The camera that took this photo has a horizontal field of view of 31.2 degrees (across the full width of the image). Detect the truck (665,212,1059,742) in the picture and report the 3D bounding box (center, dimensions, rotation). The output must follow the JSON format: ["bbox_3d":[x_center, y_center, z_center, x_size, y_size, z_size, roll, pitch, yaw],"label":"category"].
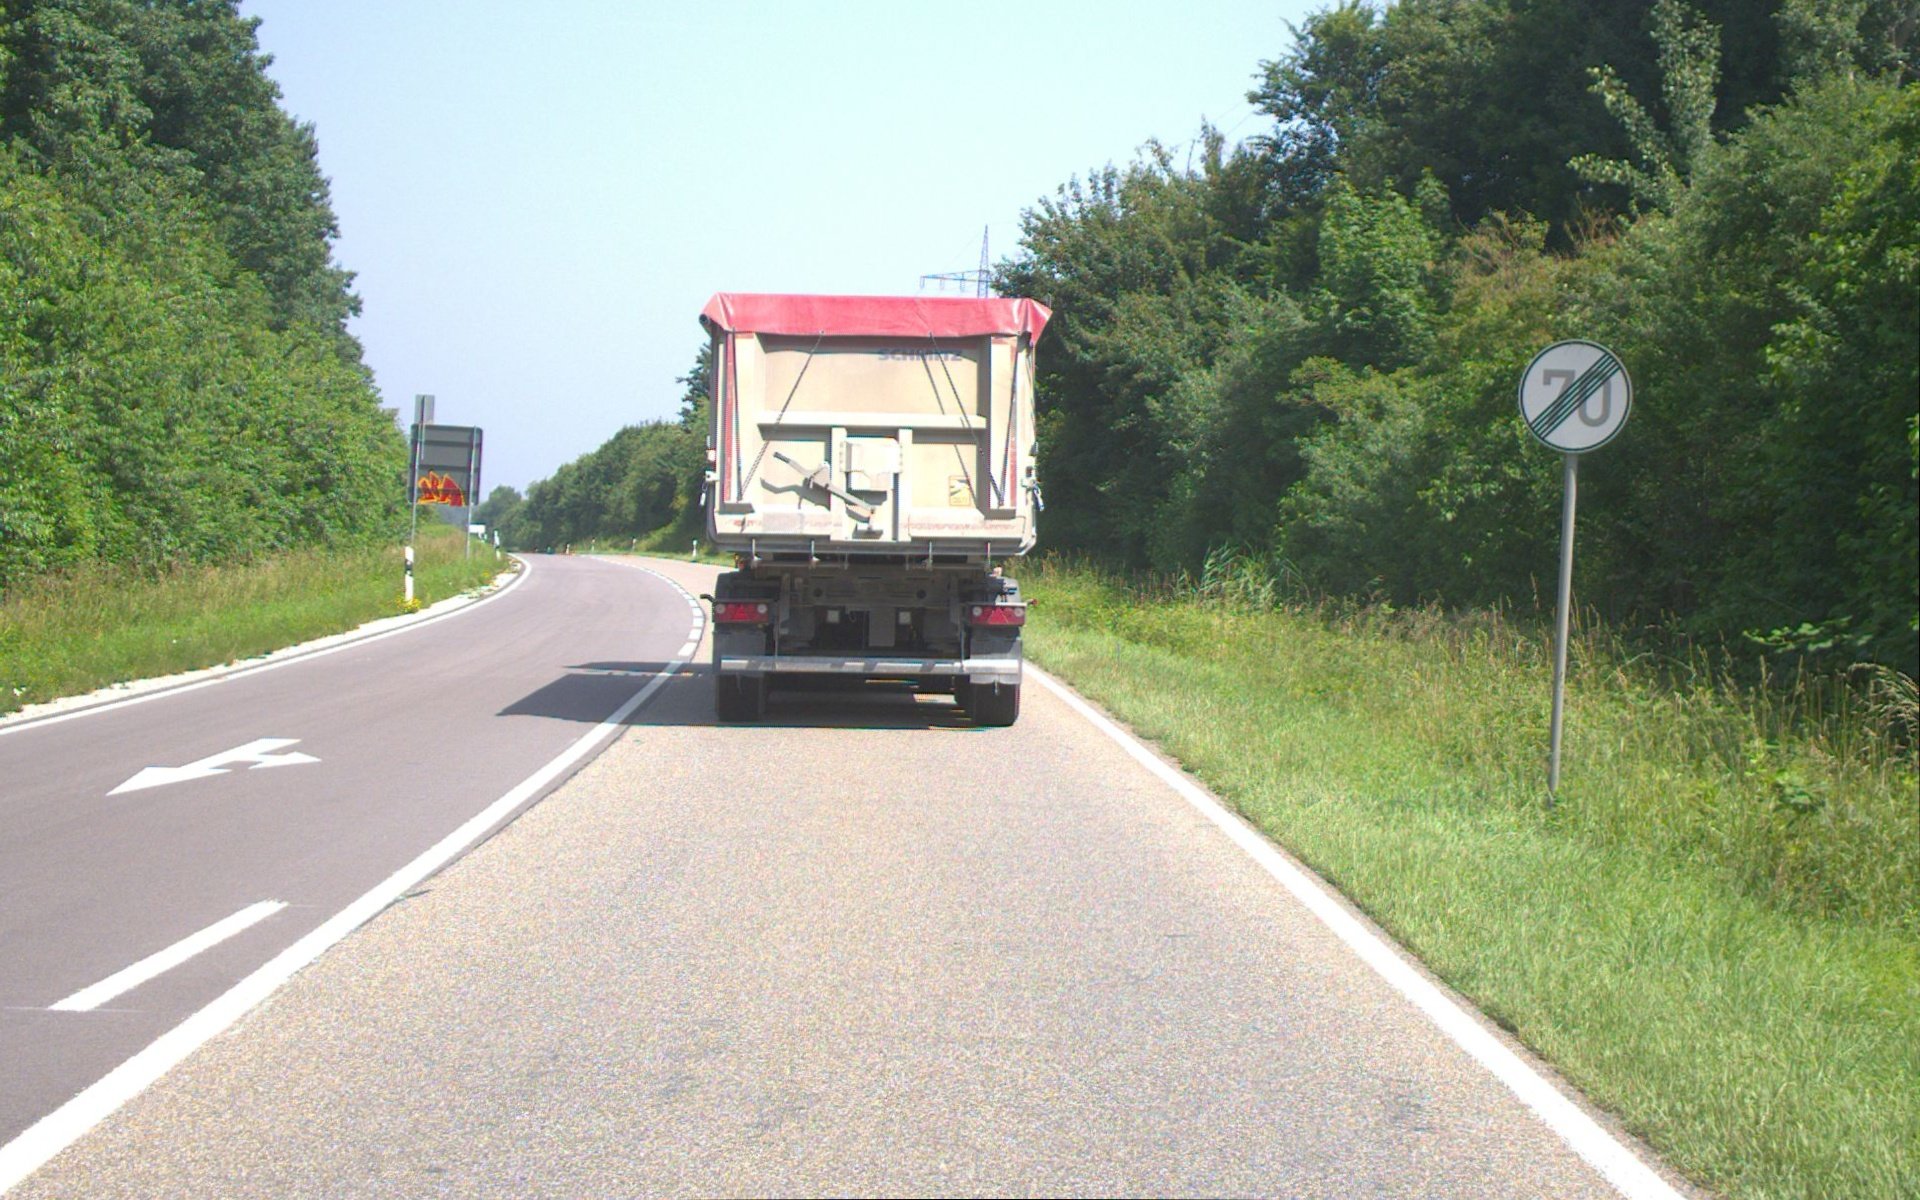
[{"bbox_3d":[-0.716,-1.051,31.995,2.893,3.949,11.933,1,1,0],"label":"truck"}]
